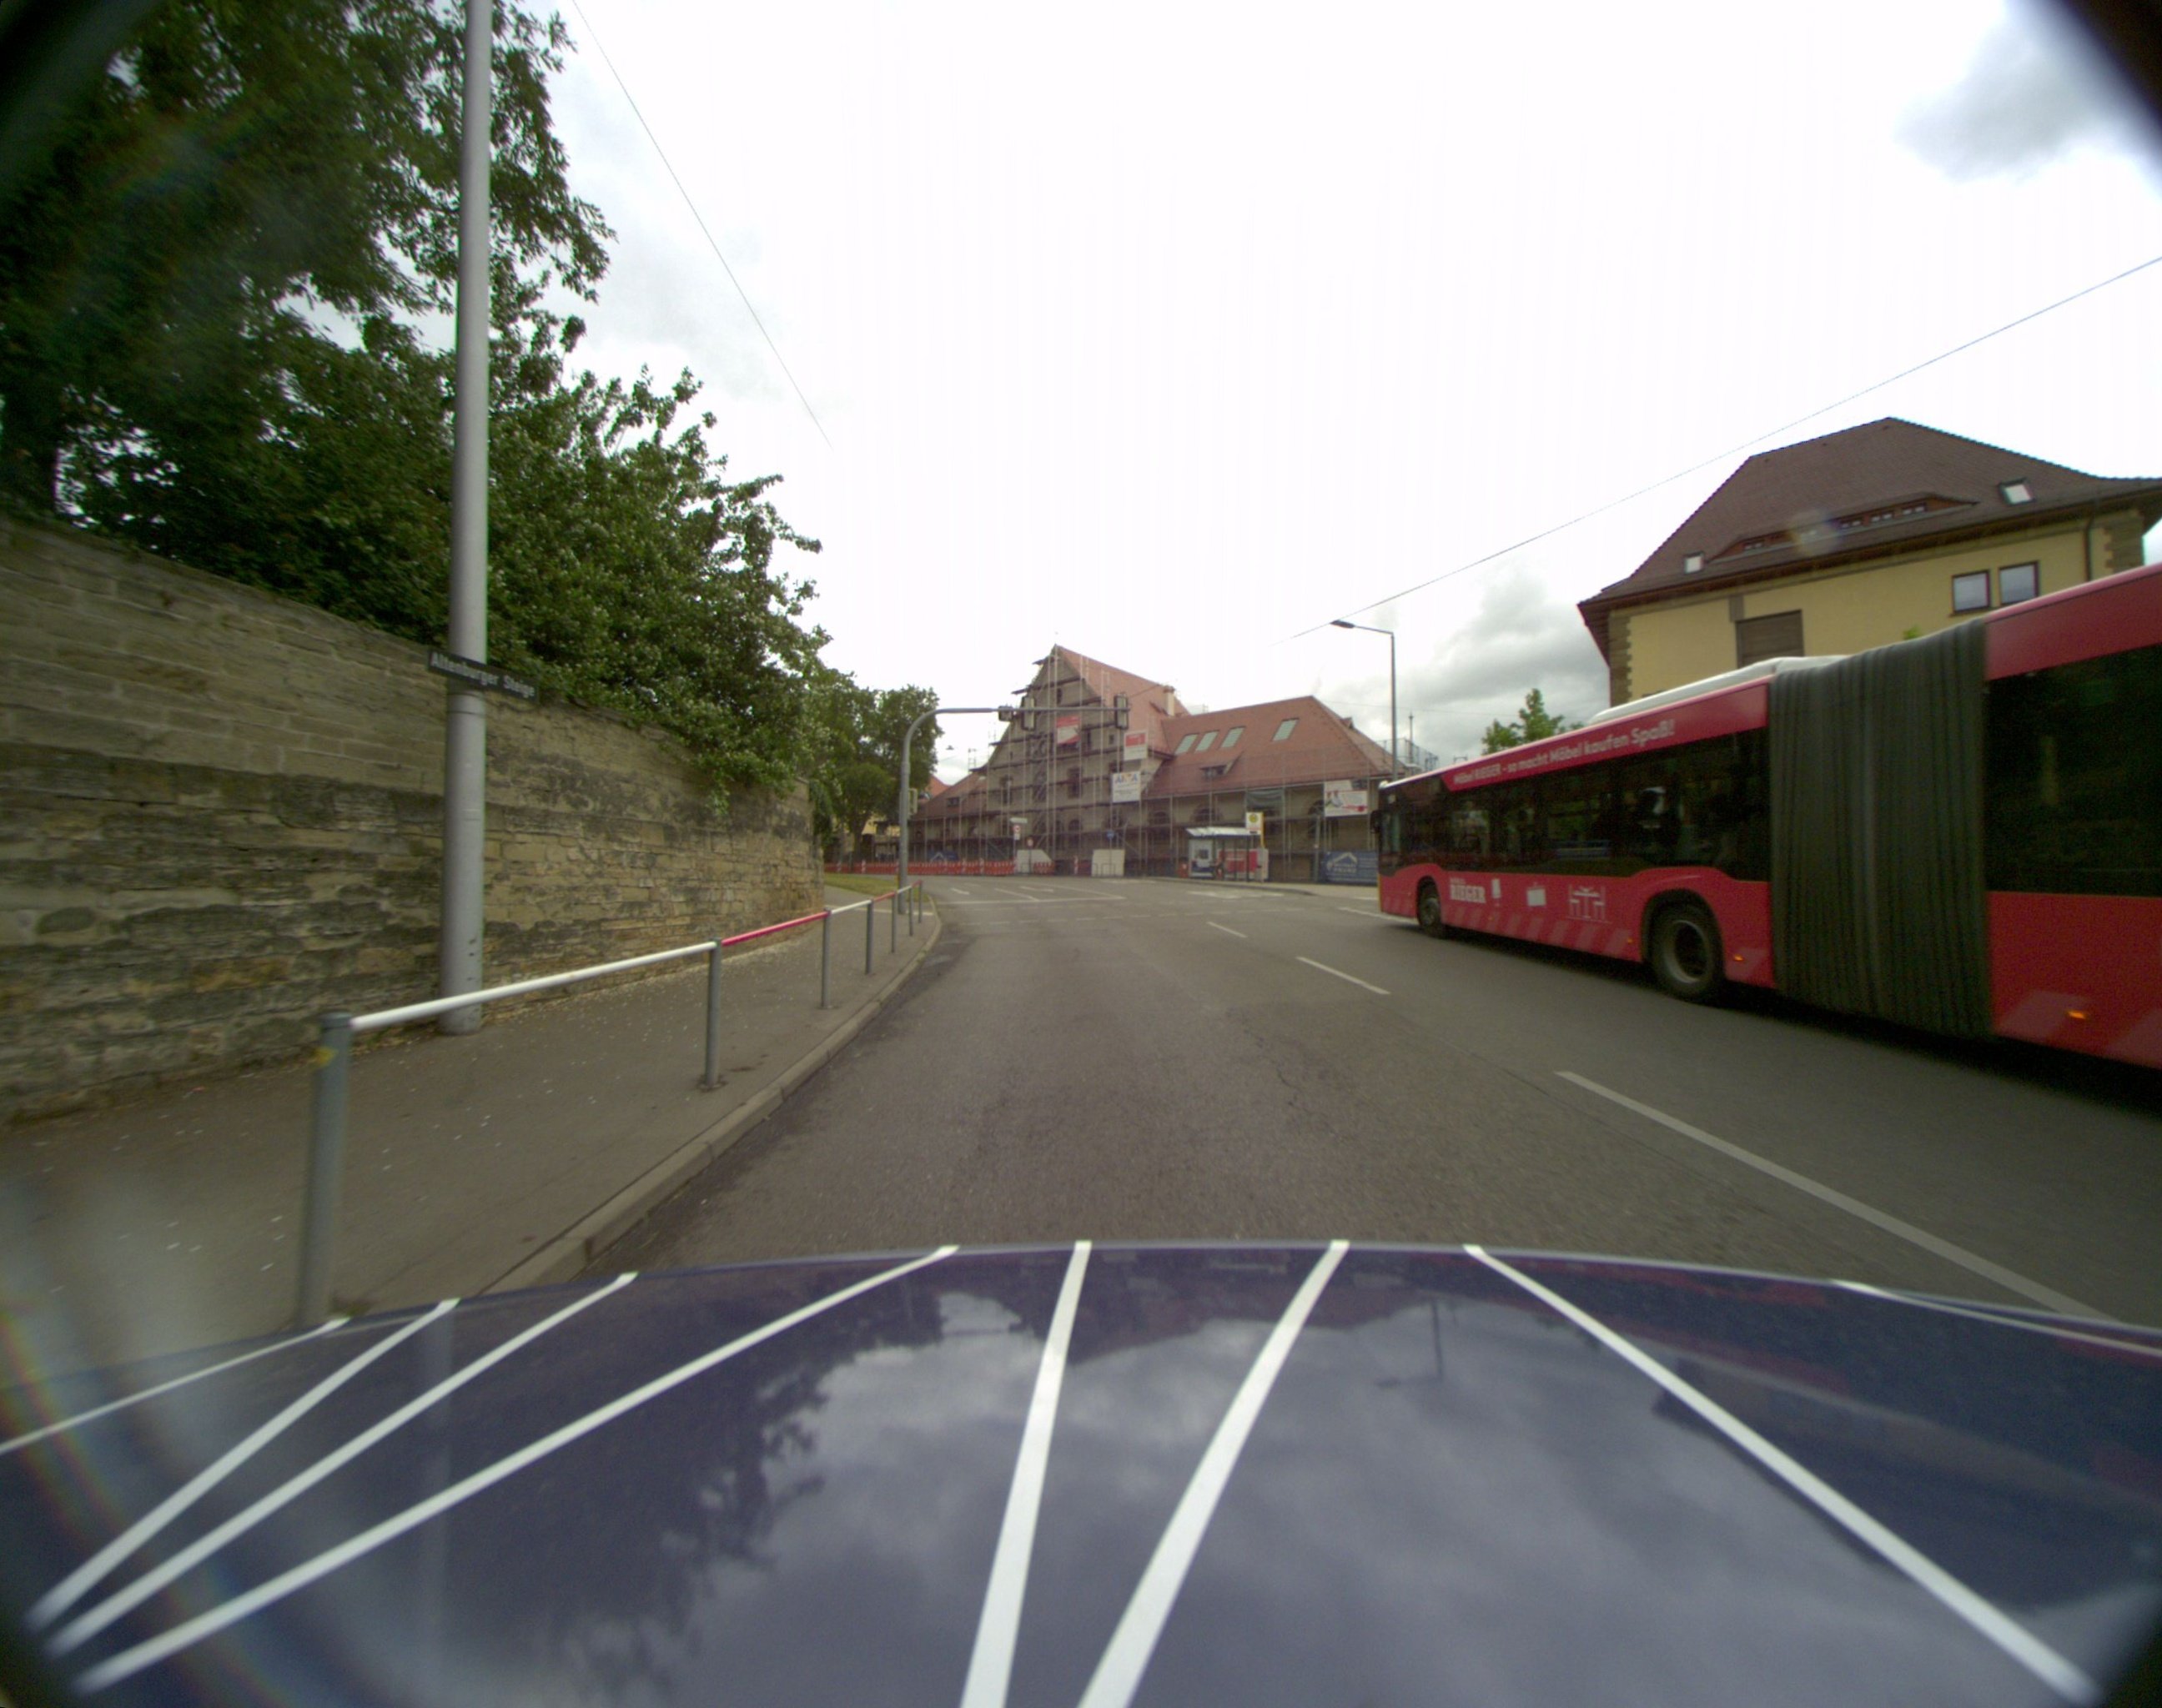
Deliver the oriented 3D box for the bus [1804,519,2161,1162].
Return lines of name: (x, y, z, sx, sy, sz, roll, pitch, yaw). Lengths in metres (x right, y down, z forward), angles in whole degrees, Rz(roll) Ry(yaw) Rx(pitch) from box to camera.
bus: (6.297, -0.093, 1.401, 2.663, 3.103, 8.297, -2, 0, 6)

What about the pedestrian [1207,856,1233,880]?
pedestrian: (7.200, 0.730, 39.496, 0.936, 1.185, 0.904, 3, 0, -21)

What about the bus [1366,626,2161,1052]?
bus: (7.002, -0.086, 10.699, 2.663, 3.103, 10.021, -2, 0, 3)

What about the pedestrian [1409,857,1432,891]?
pedestrian: (17.353, 1.017, 38.849, 0.796, 1.710, 0.928, 1, 1, 44)
